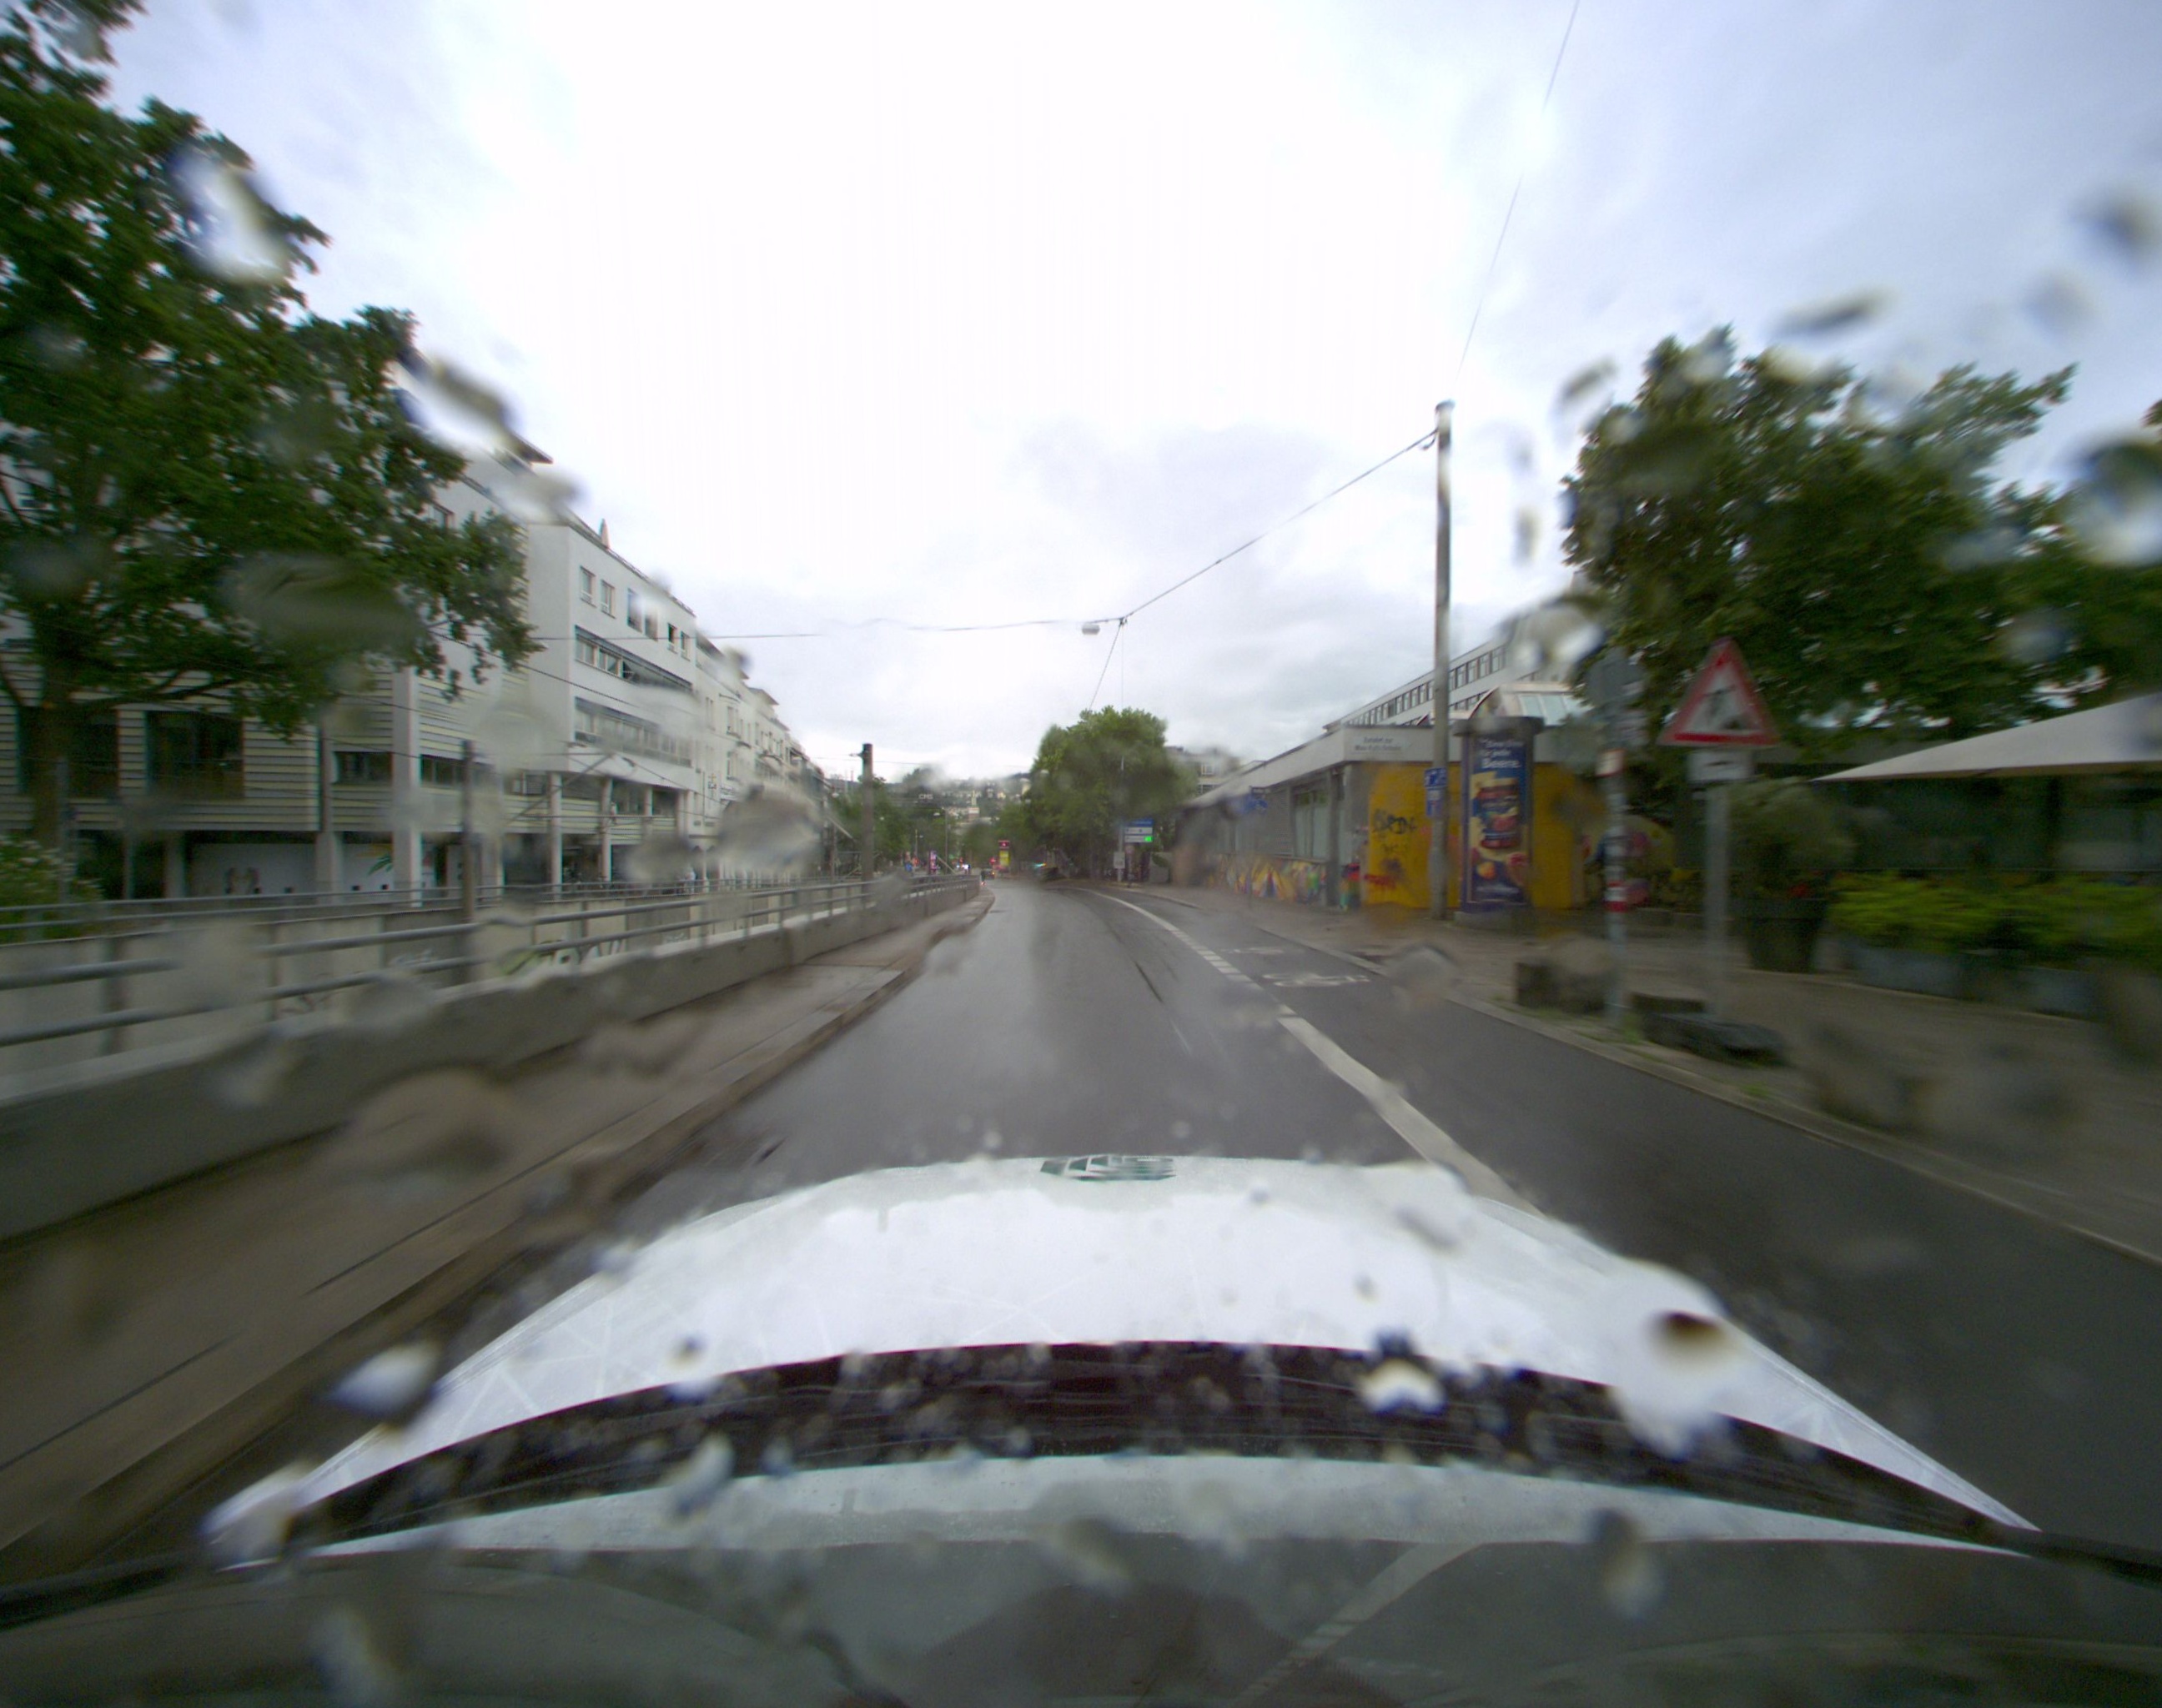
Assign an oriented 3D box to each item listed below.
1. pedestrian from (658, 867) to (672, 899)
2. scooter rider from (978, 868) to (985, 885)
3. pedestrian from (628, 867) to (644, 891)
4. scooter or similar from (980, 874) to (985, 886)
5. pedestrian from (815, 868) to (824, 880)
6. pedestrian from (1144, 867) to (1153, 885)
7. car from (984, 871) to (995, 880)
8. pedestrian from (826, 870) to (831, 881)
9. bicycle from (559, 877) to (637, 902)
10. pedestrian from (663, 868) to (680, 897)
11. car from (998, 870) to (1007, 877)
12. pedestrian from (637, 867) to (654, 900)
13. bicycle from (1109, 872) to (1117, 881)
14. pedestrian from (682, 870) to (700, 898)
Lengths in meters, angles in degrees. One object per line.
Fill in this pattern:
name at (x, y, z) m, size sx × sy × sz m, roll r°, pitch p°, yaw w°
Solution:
pedestrian at (-23.997, 1.659, 47.030) m, size 0.675 × 1.785 × 0.934 m, roll 0°, pitch -1°, yaw -25°
scooter rider at (-12.015, 2.704, 98.187) m, size 0.809 × 1.948 × 0.819 m, roll 1°, pitch -2°, yaw -13°
pedestrian at (-26.374, 1.486, 48.233) m, size 0.606 × 1.419 × 0.672 m, roll 0°, pitch -1°, yaw -6°
scooter or similar at (-11.870, 3.167, 98.126) m, size 0.546 × 1.419 × 1.947 m, roll 0°, pitch -1°, yaw -12°
pedestrian at (-39.994, 3.104, 124.492) m, size 0.859 × 1.868 × 0.962 m, roll 0°, pitch -1°, yaw 8°
pedestrian at (7.147, 2.358, 86.222) m, size 0.804 × 1.864 × 1.055 m, roll -2°, pitch -1°, yaw -1°
car at (-15.841, 3.715, 140.877) m, size 1.746 × 1.519 × 4.091 m, roll 0°, pitch -1°, yaw -10°
pedestrian at (-37.960, 3.188, 122.555) m, size 0.664 × 1.672 × 0.486 m, roll 0°, pitch -2°, yaw -11°
bicycle at (-24.867, 1.795, 42.124) m, size 1.691 × 1.043 × 4.512 m, roll -3°, pitch 0°, yaw -6°
pedestrian at (-24.299, 1.693, 48.330) m, size 0.601 × 1.722 × 0.678 m, roll -1°, pitch -1°, yaw 40°
car at (-18.076, 4.471, 187.680) m, size 1.899 × 1.684 × 3.902 m, roll 0°, pitch -1°, yaw -6°
pedestrian at (-22.248, 1.494, 41.623) m, size 0.675 × 1.616 × 0.934 m, roll 0°, pitch -1°, yaw -25°
bicycle at (3.984, 2.768, 100.446) m, size 0.805 × 1.112 × 2.195 m, roll -1°, pitch -2°, yaw -3°
pedestrian at (-23.047, 1.775, 48.108) m, size 0.785 × 1.643 × 0.678 m, roll -1°, pitch -1°, yaw 36°
